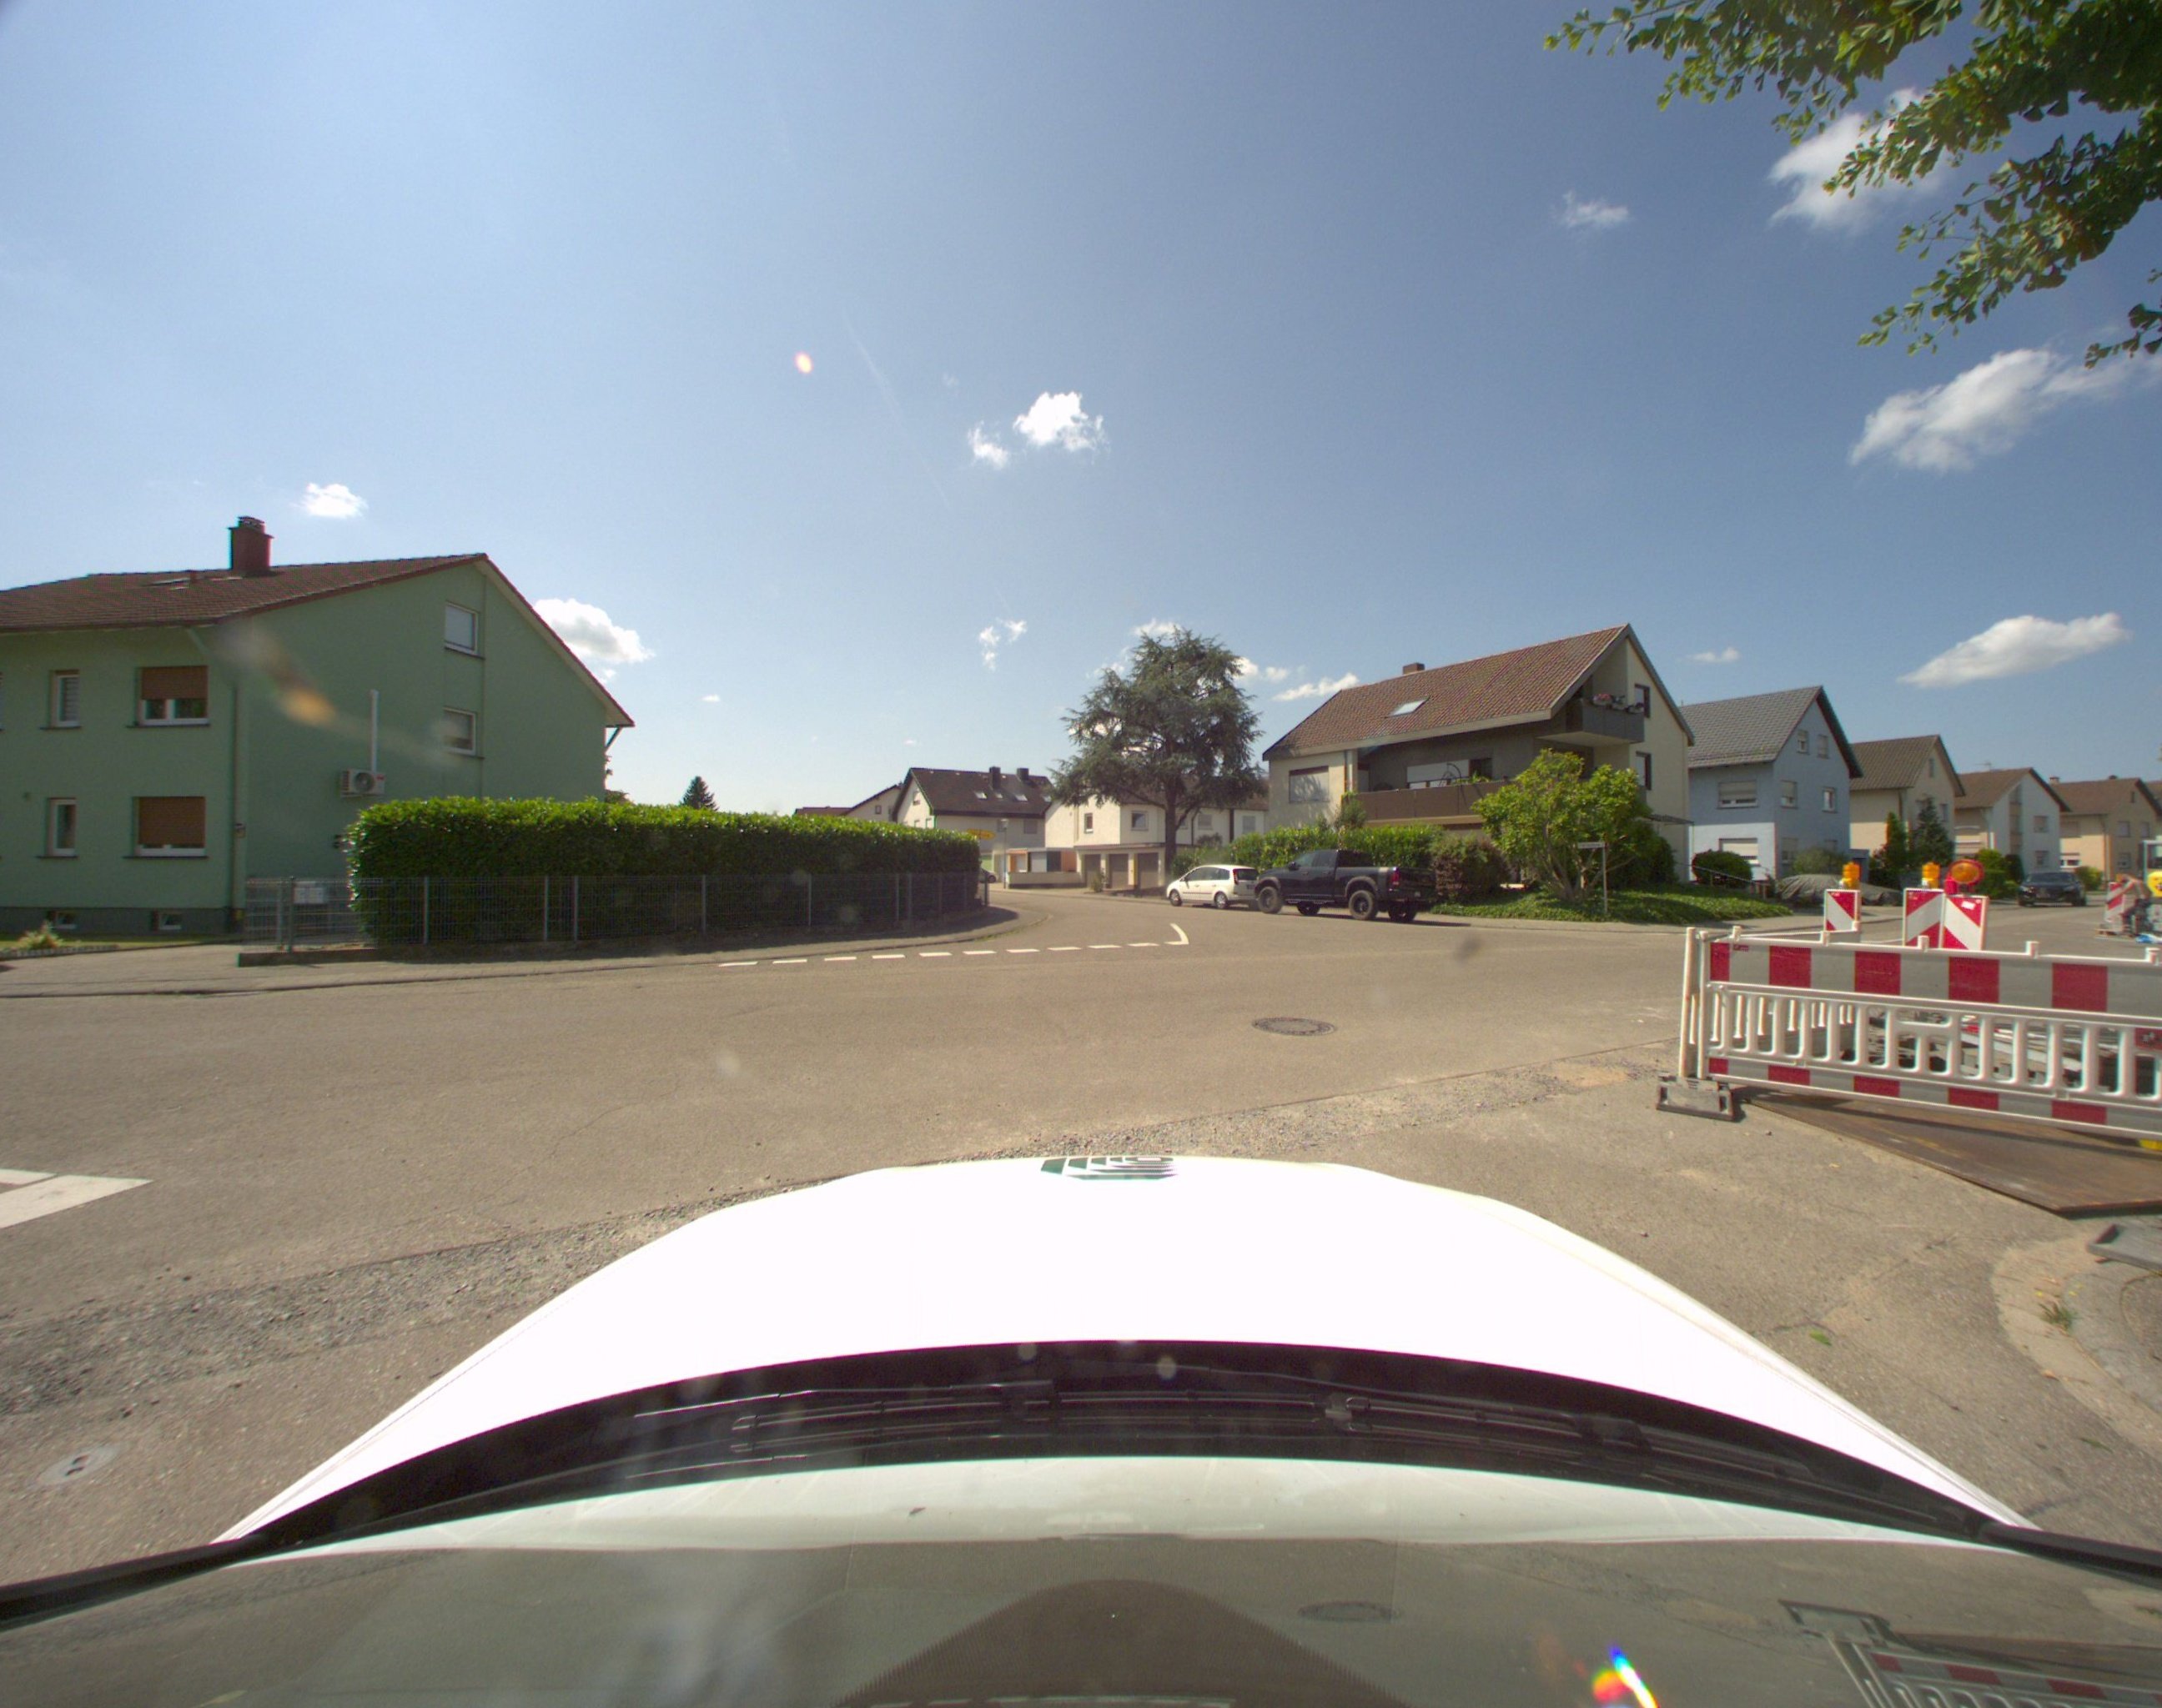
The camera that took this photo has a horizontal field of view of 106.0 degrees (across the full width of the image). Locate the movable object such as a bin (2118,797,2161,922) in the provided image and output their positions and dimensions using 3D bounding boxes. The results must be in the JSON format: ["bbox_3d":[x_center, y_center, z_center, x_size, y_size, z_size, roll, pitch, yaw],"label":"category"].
[{"bbox_3d":[32.576,0.165,24.013,3.827,3.565,1.980,1,-1,-31],"label":"movable object such as a bin"}]

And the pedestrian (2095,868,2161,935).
[{"bbox_3d":[24.191,1.085,18.818,0.526,1.514,0.854,-1,-2,17],"label":"pedestrian"}]

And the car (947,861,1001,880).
[{"bbox_3d":[-8.053,1.229,61.235,3.623,1.408,1.766,1,-1,-31],"label":"car"}]

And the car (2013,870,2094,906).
[{"bbox_3d":[44.348,1.501,37.115,4.015,1.542,1.900,1,-1,-33],"label":"car"}]

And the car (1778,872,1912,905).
[{"bbox_3d":[33.674,1.462,35.982,2.007,1.342,3.959,1,-1,-33],"label":"car"}]

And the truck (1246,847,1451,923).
[{"bbox_3d":[7.890,0.857,24.660,2.381,2.014,5.652,1,-1,-34],"label":"truck"}]

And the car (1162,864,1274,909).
[{"bbox_3d":[5.013,1.148,30.216,1.810,1.563,4.100,1,-1,-33],"label":"car"}]
